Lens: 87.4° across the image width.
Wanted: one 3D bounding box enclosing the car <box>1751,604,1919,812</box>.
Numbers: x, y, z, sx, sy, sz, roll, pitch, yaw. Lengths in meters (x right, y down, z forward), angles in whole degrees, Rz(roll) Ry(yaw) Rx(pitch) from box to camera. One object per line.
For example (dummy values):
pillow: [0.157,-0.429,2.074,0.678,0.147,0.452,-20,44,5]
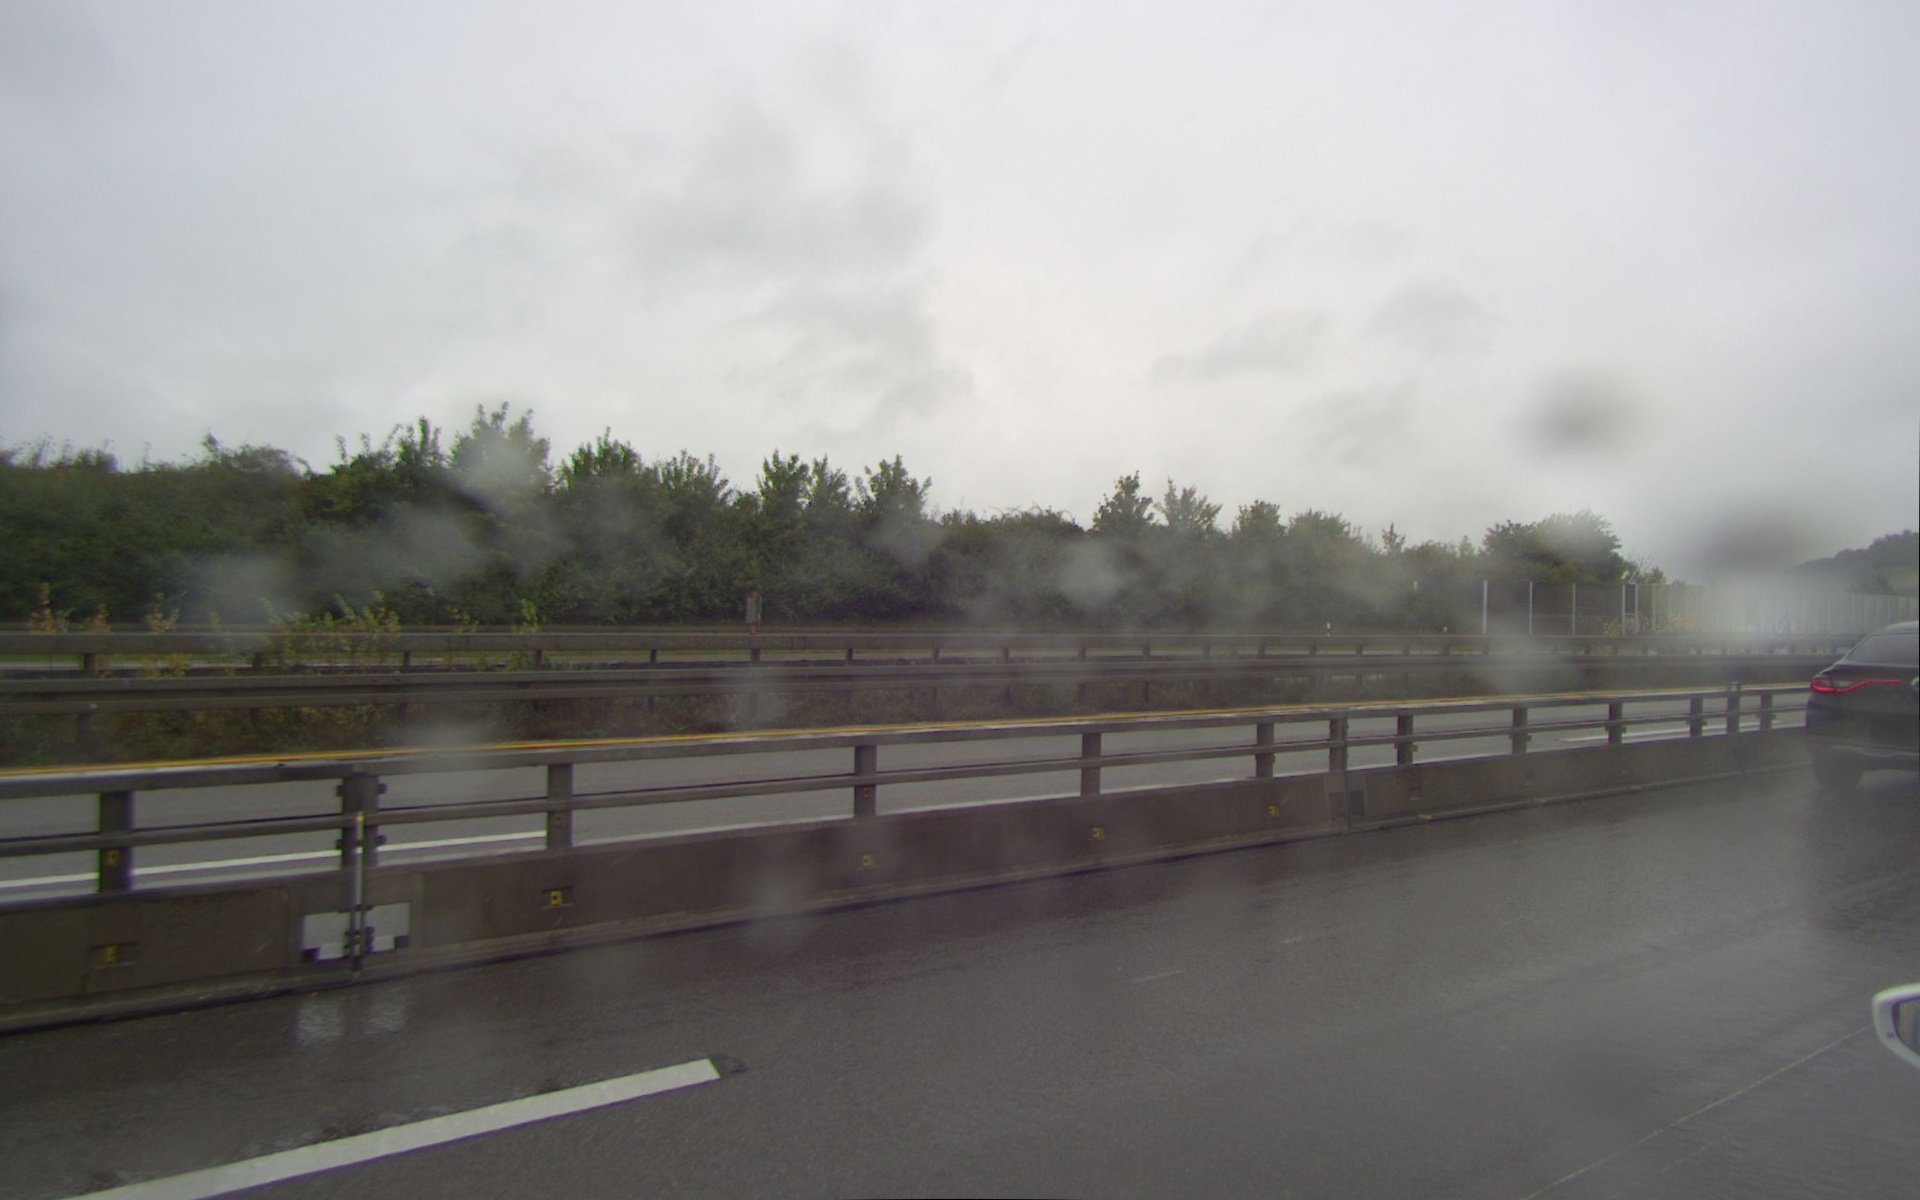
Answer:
car: [9.352,0.915,9.097,4.362,1.606,1.984,2,0,-31]
